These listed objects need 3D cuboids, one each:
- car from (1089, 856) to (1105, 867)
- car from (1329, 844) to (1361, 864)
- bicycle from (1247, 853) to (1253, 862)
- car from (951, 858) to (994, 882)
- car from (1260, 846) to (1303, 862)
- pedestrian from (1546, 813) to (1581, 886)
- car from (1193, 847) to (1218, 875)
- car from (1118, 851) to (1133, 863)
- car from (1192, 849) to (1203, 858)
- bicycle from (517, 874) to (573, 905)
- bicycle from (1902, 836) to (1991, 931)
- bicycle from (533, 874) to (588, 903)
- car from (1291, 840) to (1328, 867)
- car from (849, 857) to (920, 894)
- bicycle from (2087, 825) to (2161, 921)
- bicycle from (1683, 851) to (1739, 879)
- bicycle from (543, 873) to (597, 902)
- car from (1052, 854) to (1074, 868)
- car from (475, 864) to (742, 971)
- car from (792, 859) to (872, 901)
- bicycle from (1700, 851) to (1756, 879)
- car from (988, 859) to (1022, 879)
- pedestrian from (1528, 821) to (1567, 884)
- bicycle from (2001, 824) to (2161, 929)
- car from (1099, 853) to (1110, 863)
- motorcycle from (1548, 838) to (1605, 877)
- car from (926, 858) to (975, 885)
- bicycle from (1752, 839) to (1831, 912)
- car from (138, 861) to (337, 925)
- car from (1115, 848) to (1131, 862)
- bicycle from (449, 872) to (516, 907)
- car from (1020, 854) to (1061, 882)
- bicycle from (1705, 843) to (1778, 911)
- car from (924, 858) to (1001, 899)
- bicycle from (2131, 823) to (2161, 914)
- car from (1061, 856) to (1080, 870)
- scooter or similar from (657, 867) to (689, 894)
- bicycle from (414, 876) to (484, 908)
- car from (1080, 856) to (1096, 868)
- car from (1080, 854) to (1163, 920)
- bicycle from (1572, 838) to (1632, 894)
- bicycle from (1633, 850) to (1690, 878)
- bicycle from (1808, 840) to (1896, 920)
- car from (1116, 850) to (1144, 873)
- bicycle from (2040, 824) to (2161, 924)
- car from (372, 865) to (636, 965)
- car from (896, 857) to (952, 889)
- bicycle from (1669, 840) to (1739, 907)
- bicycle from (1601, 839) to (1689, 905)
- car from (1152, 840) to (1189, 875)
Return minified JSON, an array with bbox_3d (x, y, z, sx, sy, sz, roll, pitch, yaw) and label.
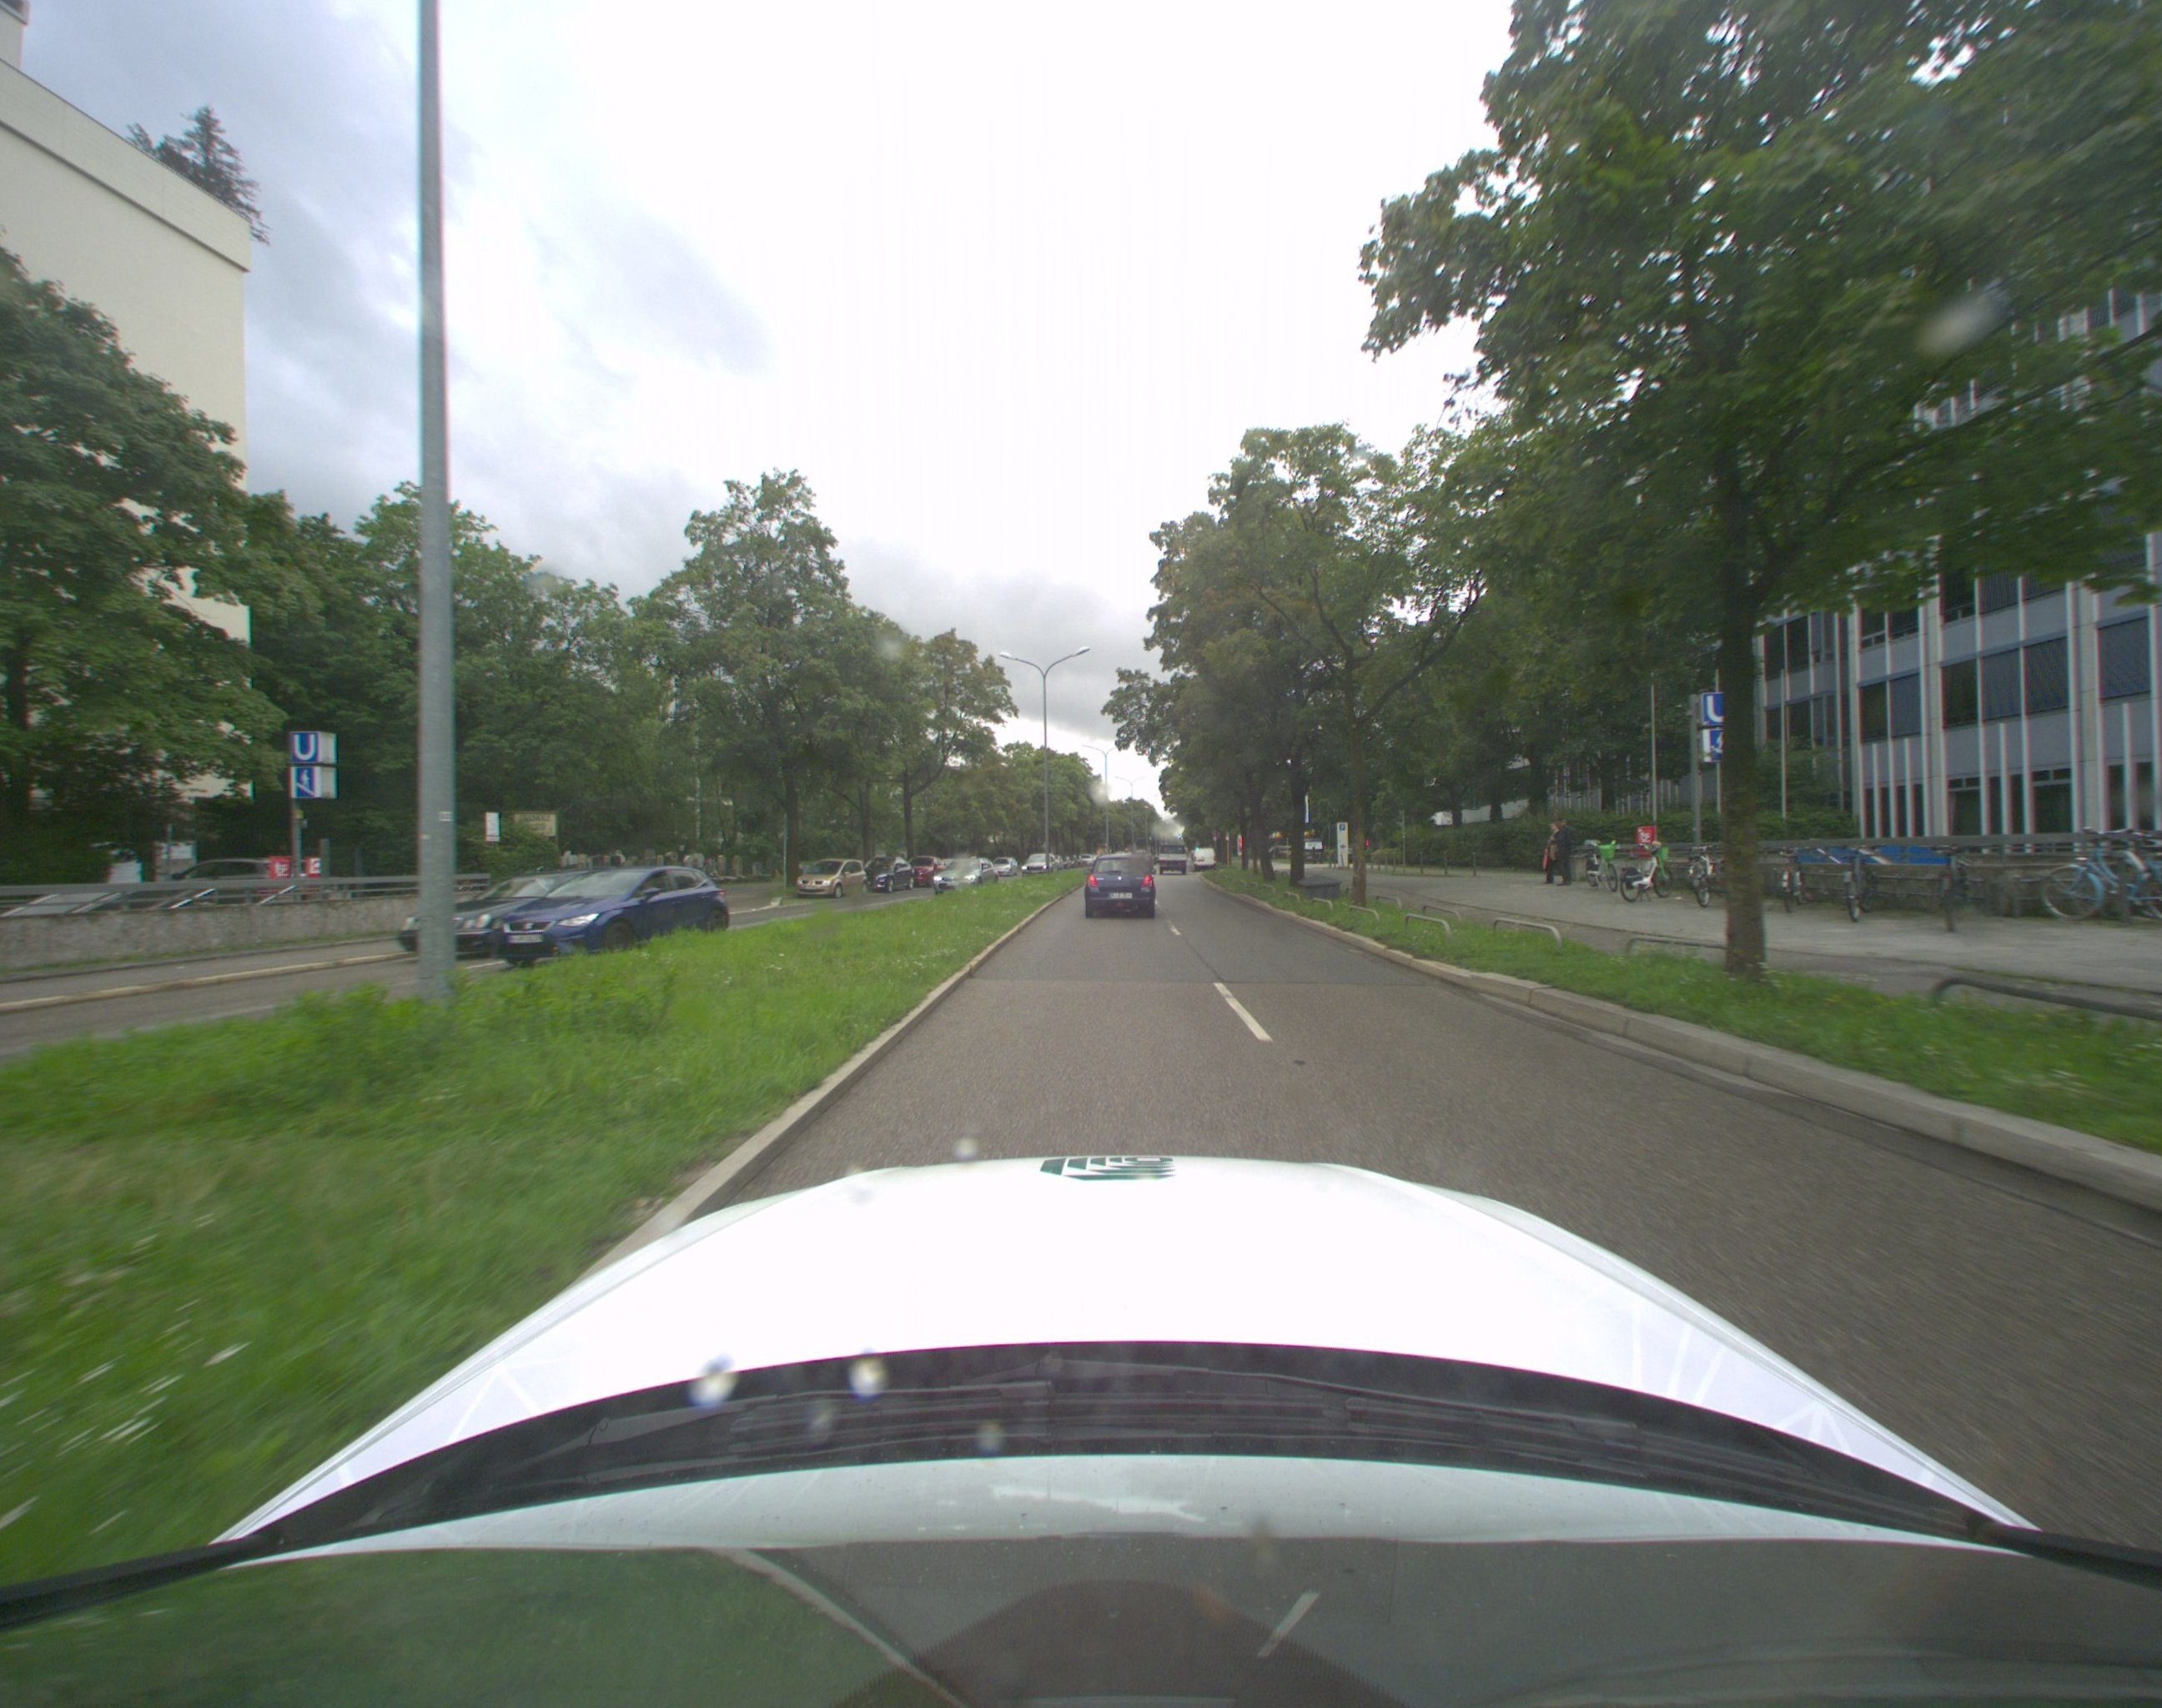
[{"bbox_3d":[2.454,1.165,125.247,1.822,1.609,4.502,1,0,8],"label":"car"},{"bbox_3d":[24.737,-0.003,76.425,1.833,1.818,4.479,-2,0,6],"label":"car"},{"bbox_3d":[25.503,0.523,122.732,0.744,1.183,2.251,-1,0,7],"label":"bicycle"},{"bbox_3d":[-7.270,1.031,54.937,1.729,1.529,4.485,0,0,8],"label":"car"},{"bbox_3d":[27.530,-0.015,112.024,5.441,2.083,2.151,-1,0,6],"label":"car"},{"bbox_3d":[12.881,-0.115,21.745,0.645,1.899,0.753,-2,0,21],"label":"pedestrian"},{"bbox_3d":[10.574,0.572,69.574,1.976,2.157,5.568,-2,0,8],"label":"car"},{"bbox_3d":[6.704,0.453,122.001,1.824,1.642,4.359,-2,0,7],"label":"car"},{"bbox_3d":[21.089,-0.095,147.269,1.751,1.453,4.642,-3,0,7],"label":"car"},{"bbox_3d":[-18.827,1.240,28.591,1.752,1.007,0.437,-2,0,7],"label":"bicycle"},{"bbox_3d":[11.640,0.368,10.932,2.042,1.099,0.574,-4,-1,-38],"label":"bicycle"},{"bbox_3d":[-18.825,1.245,29.466,1.752,1.007,0.437,-2,0,7],"label":"bicycle"},{"bbox_3d":[21.331,-0.025,76.252,2.253,2.306,6.278,-2,0,6],"label":"car"},{"bbox_3d":[-9.361,0.988,39.219,1.729,1.643,4.695,0,0,8],"label":"car"},{"bbox_3d":[13.658,0.228,9.908,0.485,1.189,1.956,-2,0,4],"label":"bicycle"},{"bbox_3d":[21.021,0.344,27.226,0.556,0.853,1.775,-2,1,3],"label":"bicycle"},{"bbox_3d":[-18.887,1.248,30.108,1.752,1.007,0.437,-2,0,7],"label":"bicycle"},{"bbox_3d":[-2.004,0.811,93.095,1.707,1.524,5.044,1,0,7],"label":"car"},{"bbox_3d":[-7.393,0.911,13.267,1.683,1.402,3.974,-2,0,6],"label":"car"},{"bbox_3d":[-10.237,1.015,33.743,1.637,1.614,3.829,0,0,9],"label":"car"},{"bbox_3d":[21.651,0.351,27.292,0.556,0.853,1.775,-2,1,3],"label":"bicycle"},{"bbox_3d":[-6.003,1.134,64.824,1.727,1.448,4.832,1,0,7],"label":"car"},{"bbox_3d":[13.085,-0.046,22.858,0.776,1.714,0.754,-2,0,21],"label":"pedestrian"},{"bbox_3d":[12.563,0.248,9.969,0.485,1.189,1.956,-2,0,4],"label":"bicycle"},{"bbox_3d":[3.961,0.680,138.066,1.682,1.565,3.084,-2,0,5],"label":"car"},{"bbox_3d":[17.684,0.120,29.108,0.548,1.318,2.069,-1,0,-7],"label":"motorcycle"},{"bbox_3d":[-7.977,1.047,50.100,1.729,1.483,4.343,1,0,8],"label":"car"},{"bbox_3d":[11.949,0.338,13.675,1.964,1.066,0.574,-4,0,-38],"label":"bicycle"},{"bbox_3d":[-23.008,1.049,22.276,3.964,1.589,1.753,-2,0,8],"label":"car"},{"bbox_3d":[7.198,0.149,139.988,2.197,2.194,5.811,-3,0,7],"label":"car"},{"bbox_3d":[-20.638,1.209,28.134,0.575,1.099,2.037,-2,0,8],"label":"bicycle"},{"bbox_3d":[-2.487,0.847,50.855,1.756,1.624,4.386,-2,0,8],"label":"car"},{"bbox_3d":[12.236,0.402,15.070,1.964,1.083,0.590,-5,2,-38],"label":"bicycle"},{"bbox_3d":[-4.781,0.941,33.628,1.905,1.484,4.873,-2,0,6],"label":"car"},{"bbox_3d":[14.264,0.187,9.923,0.485,1.189,1.956,-2,0,4],"label":"bicycle"},{"bbox_3d":[-1.216,1.115,98.641,1.676,1.597,4.220,1,0,8],"label":"car"},{"bbox_3d":[-18.053,1.155,36.045,0.431,1.127,1.296,-2,0,20],"label":"scooter or similar"},{"bbox_3d":[-21.779,1.294,28.113,0.575,1.007,2.037,-2,0,8],"label":"bicycle"},{"bbox_3d":[1.054,1.134,115.039,1.748,1.595,4.498,1,0,7],"label":"car"},{"bbox_3d":[1.081,0.768,20.542,1.887,1.499,3.665,-1,0,5],"label":"car"},{"bbox_3d":[12.493,0.259,19.584,0.526,1.226,1.868,-4,1,11],"label":"bicycle"},{"bbox_3d":[19.571,0.330,27.496,0.679,0.853,1.836,-2,1,3],"label":"bicycle"},{"bbox_3d":[11.841,0.377,12.487,2.050,1.089,0.598,-3,-2,-38],"label":"bicycle"},{"bbox_3d":[3.396,0.521,55.964,1.791,1.499,3.664,-2,0,4],"label":"car"},{"bbox_3d":[13.081,0.235,9.953,0.485,1.189,1.956,-2,0,4],"label":"bicycle"},{"bbox_3d":[-10.265,1.001,14.913,1.683,1.484,3.974,-2,0,6],"label":"car"},{"bbox_3d":[-8.631,0.992,45.117,1.730,1.651,4.614,1,0,6],"label":"car"},{"bbox_3d":[12.295,0.355,16.058,1.964,1.108,0.574,-6,2,-38],"label":"bicycle"},{"bbox_3d":[11.614,0.350,16.748,1.959,1.189,0.592,-5,1,-27],"label":"bicycle"},{"bbox_3d":[6.525,0.246,58.766,2.404,2.444,5.099,0,0,9],"label":"car"}]
